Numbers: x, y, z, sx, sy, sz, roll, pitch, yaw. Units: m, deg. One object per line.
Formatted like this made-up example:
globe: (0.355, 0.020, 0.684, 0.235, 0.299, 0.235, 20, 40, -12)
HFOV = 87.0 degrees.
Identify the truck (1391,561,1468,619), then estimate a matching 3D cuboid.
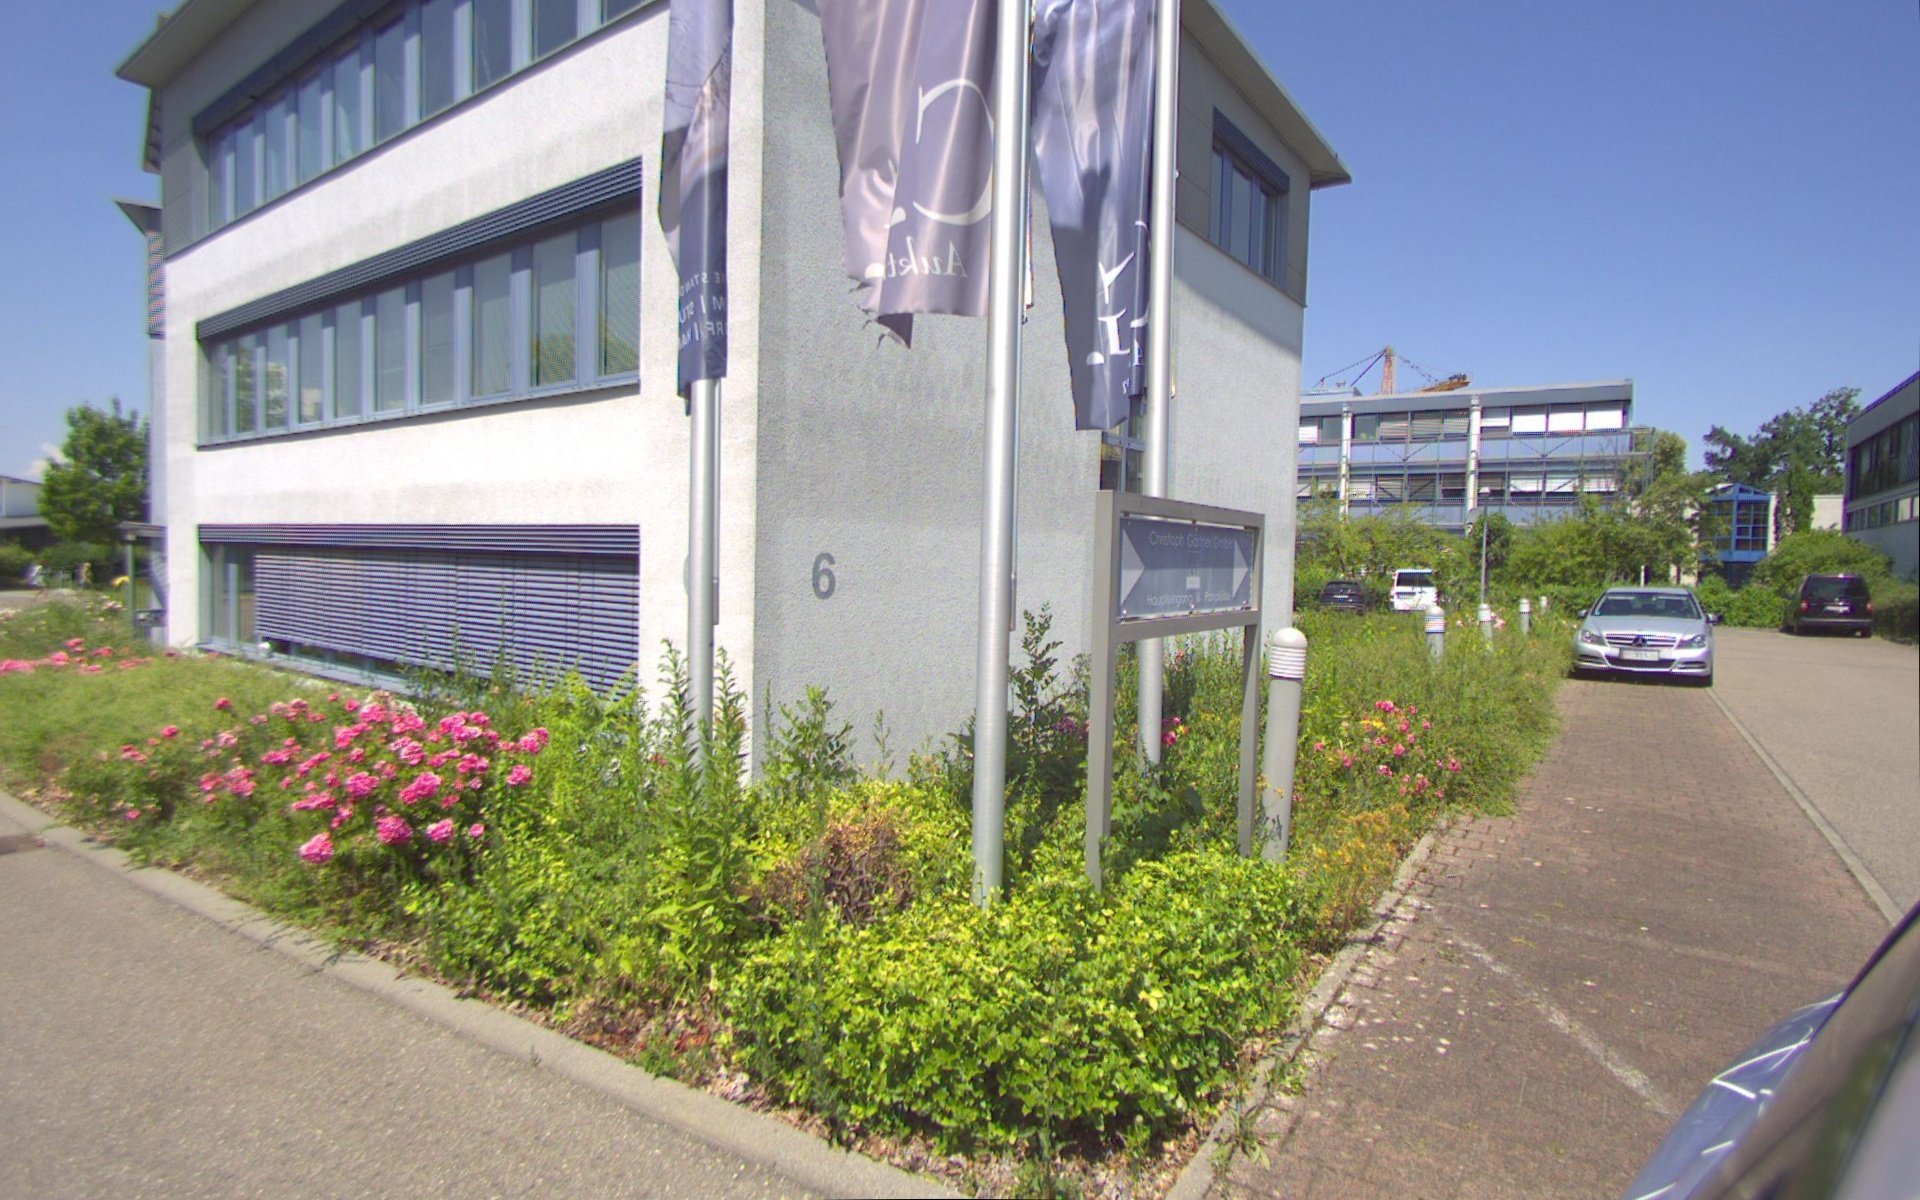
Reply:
truck: (16.676, -0.402, 35.844, 1.985, 1.917, 3.954, 1, 2, 32)

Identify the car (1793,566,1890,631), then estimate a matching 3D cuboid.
car: (26.306, -0.113, 30.323, 1.778, 1.826, 3.950, 1, 2, 36)

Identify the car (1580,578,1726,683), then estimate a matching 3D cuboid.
car: (11.080, 0.379, 16.084, 1.703, 1.408, 3.760, 3, 3, 37)

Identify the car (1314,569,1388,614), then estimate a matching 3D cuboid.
car: (14.726, -0.359, 38.019, 1.777, 1.565, 3.952, 1, 2, 34)
